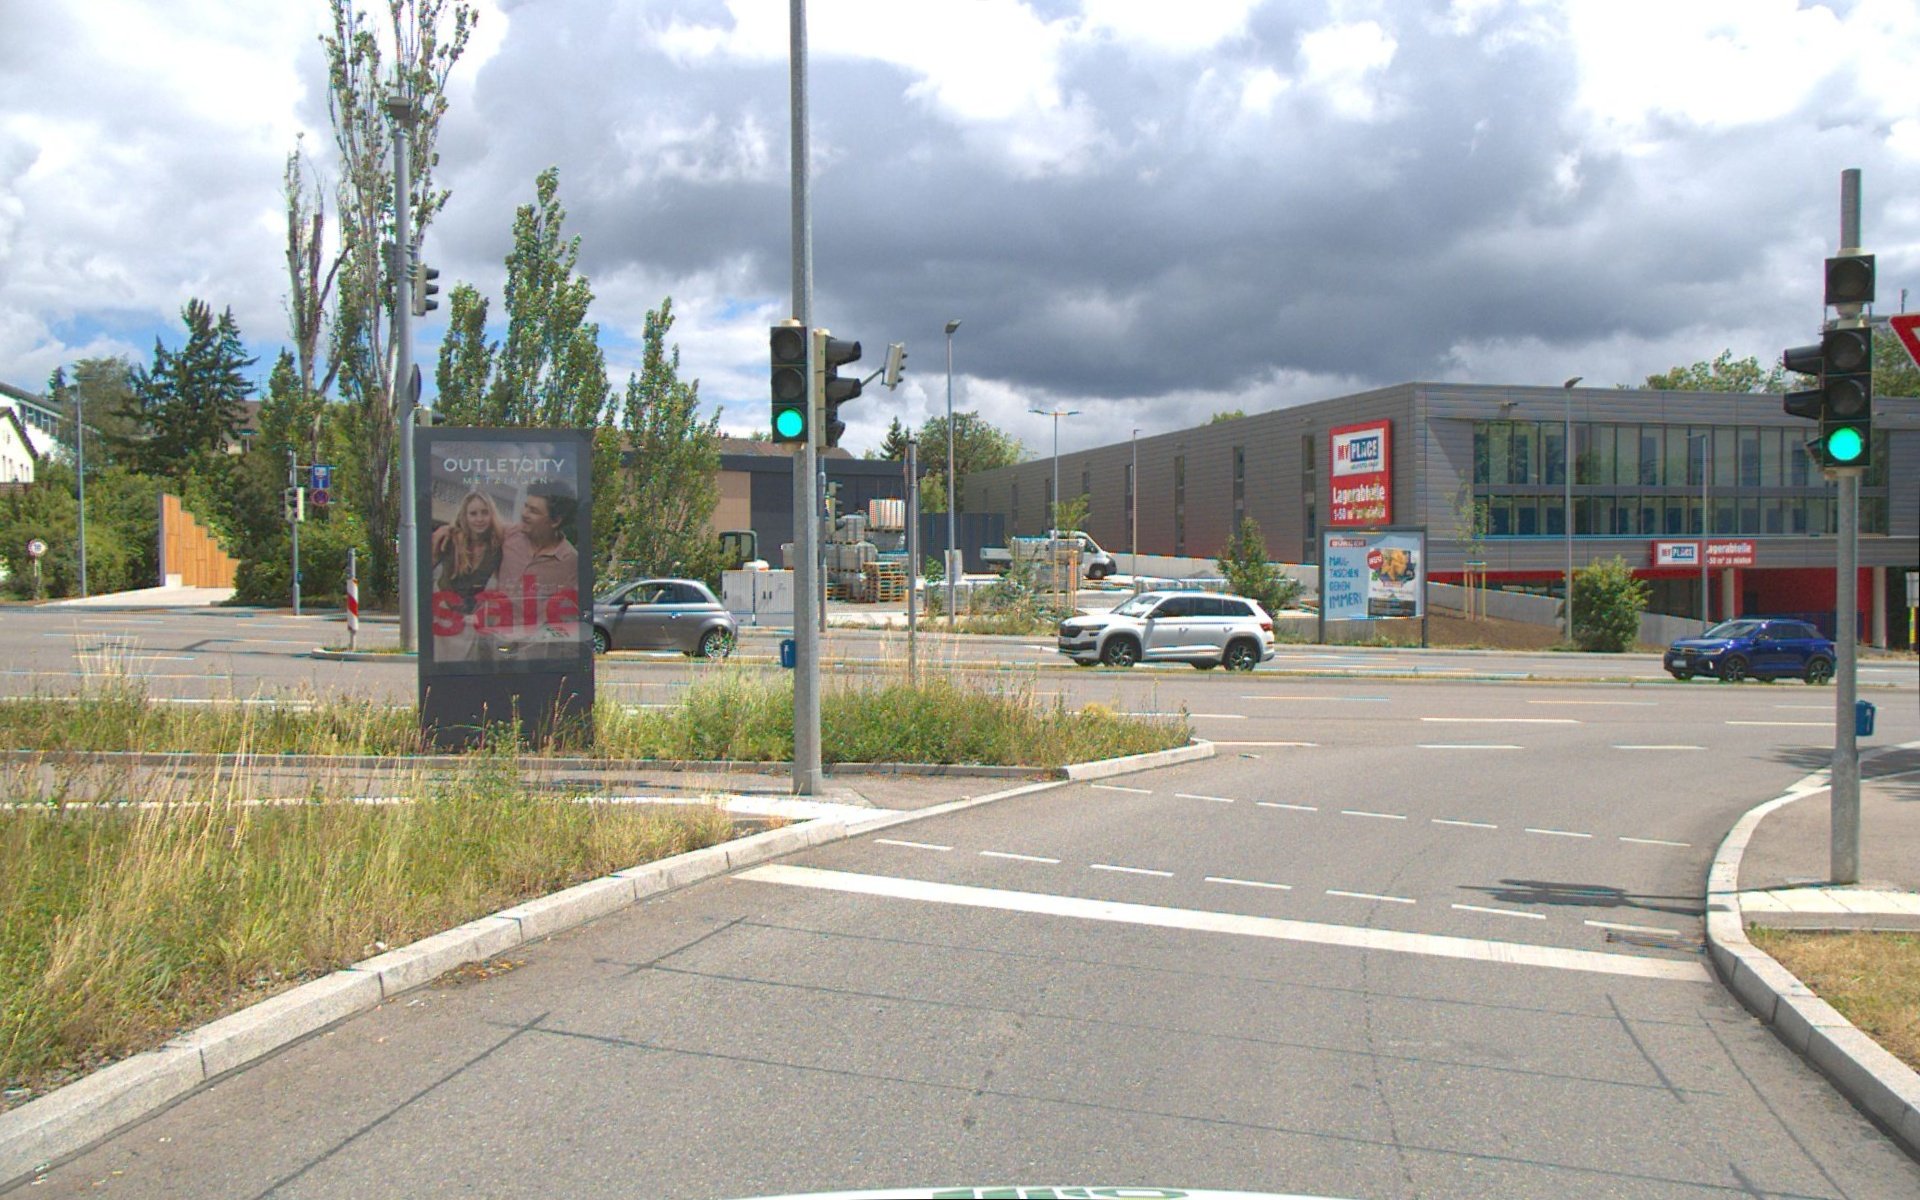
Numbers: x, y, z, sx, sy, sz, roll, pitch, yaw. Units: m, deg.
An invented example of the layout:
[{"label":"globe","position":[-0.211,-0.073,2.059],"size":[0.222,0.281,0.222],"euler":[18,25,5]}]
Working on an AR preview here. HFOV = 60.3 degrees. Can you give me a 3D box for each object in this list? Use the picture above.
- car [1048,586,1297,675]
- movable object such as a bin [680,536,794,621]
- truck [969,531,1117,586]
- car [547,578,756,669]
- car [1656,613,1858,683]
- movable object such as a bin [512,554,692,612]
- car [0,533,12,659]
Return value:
[{"label":"car","position":[4.366,0.635,34.109],"size":[4.808,1.687,1.725],"euler":[1,1,-18]},{"label":"movable object such as a bin","position":[-7.134,-0.675,53.106],"size":[3.335,2.582,2.152],"euler":[2,0,-2]},{"label":"truck","position":[3.726,-1.867,74.732],"size":[6.432,2.182,1.998],"euler":[-3,2,-5]},{"label":"car","position":[-5.640,0.391,30.238],"size":[3.469,1.486,1.573],"euler":[-2,2,-25]},{"label":"car","position":[19.048,1.139,39.554],"size":[4.316,1.537,1.801],"euler":[1,1,-19]},{"label":"movable object such as a bin","position":[-14.331,-0.700,66.591],"size":[6.791,2.048,2.293],"euler":[-2,2,-7]},{"label":"car","position":[-14.872,-0.122,20.760],"size":[1.867,1.719,4.979],"euler":[3,0,24]}]
